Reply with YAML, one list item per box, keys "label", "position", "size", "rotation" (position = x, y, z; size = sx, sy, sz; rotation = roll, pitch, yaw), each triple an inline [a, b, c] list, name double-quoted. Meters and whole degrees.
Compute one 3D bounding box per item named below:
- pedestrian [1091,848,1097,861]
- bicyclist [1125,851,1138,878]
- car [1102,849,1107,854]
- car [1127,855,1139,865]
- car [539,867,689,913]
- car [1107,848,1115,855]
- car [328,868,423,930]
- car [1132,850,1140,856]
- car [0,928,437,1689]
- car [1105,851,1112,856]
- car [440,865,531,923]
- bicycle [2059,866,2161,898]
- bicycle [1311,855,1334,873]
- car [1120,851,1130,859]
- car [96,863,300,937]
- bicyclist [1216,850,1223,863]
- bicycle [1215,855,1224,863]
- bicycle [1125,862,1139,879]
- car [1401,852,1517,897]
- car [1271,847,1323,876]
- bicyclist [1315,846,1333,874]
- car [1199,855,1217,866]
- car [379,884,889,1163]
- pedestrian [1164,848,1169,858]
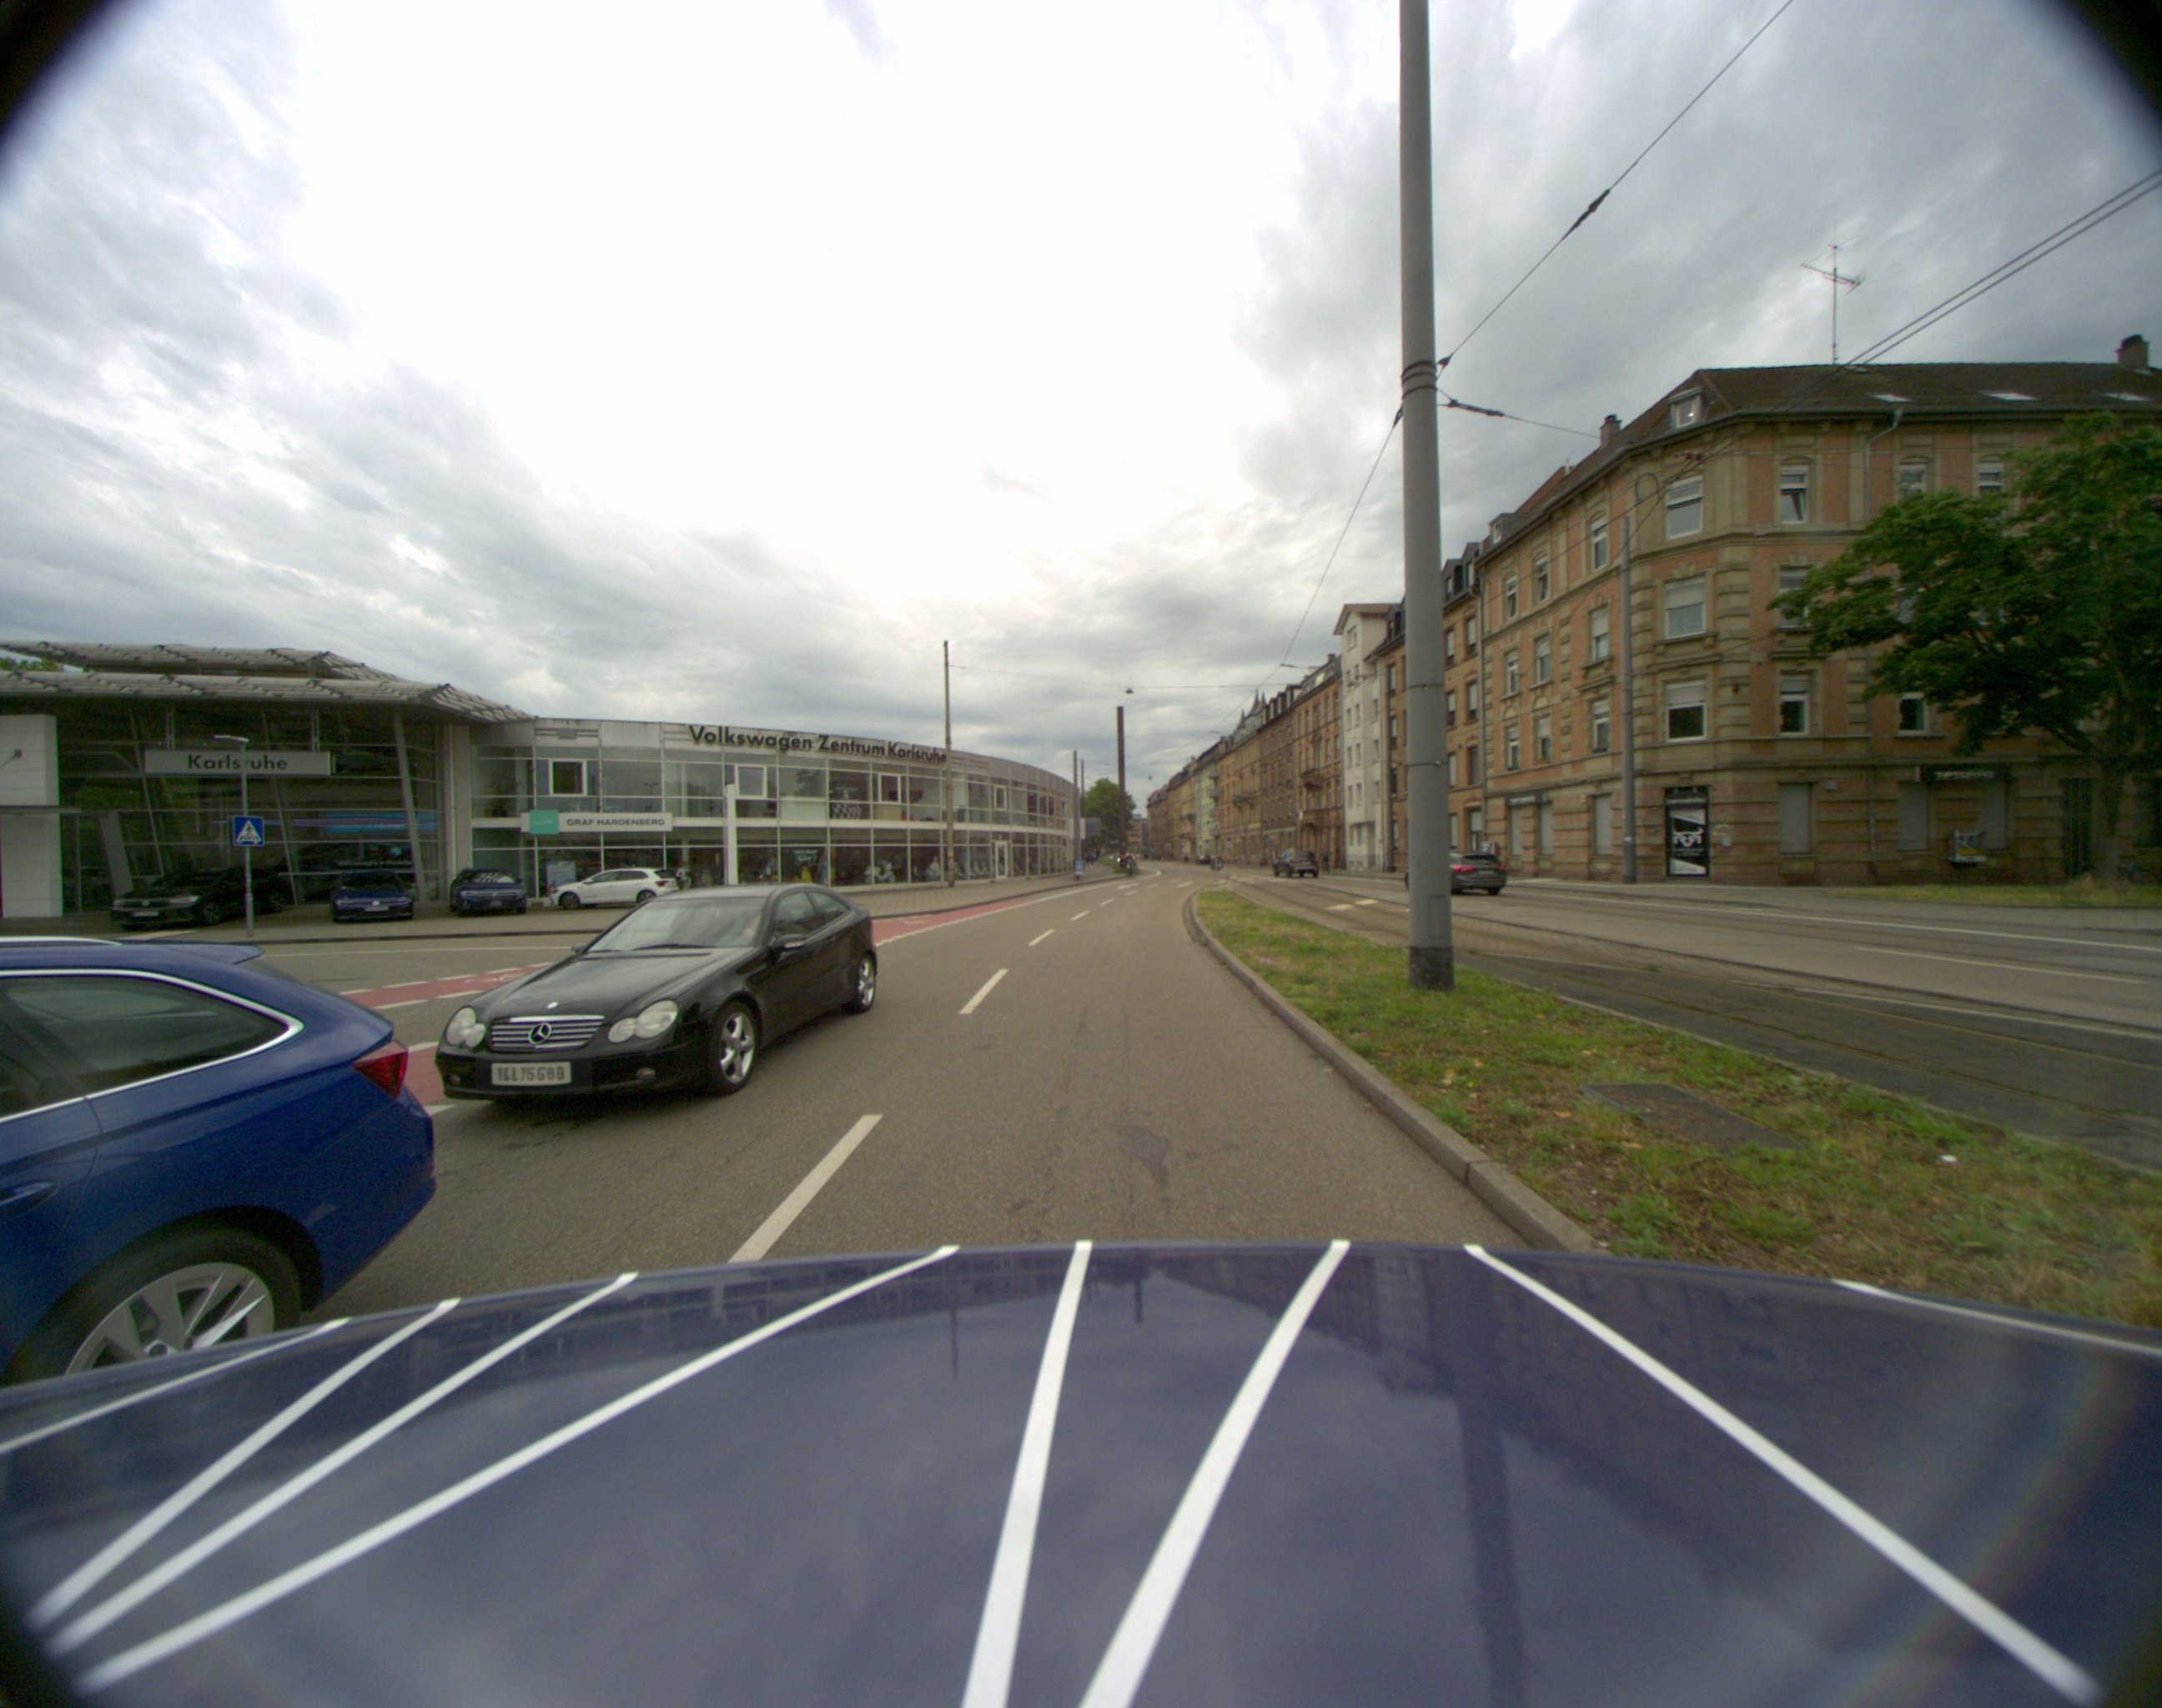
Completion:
- label: "pedestrian"
  position: [1.789, 0.065, 104.061]
  size: [0.871, 1.843, 0.706]
  rotation: [-1, 1, 1]
- label: "bicyclist"
  position: [3.270, 0.676, 48.911]
  size: [0.730, 1.747, 0.911]
  rotation: [-1, 1, 7]
- label: "car"
  position: [7.715, -0.961, 250.728]
  size: [1.802, 1.630, 4.230]
  rotation: [-1, 0, 1]
- label: "car"
  position: [8.966, 1.030, 130.188]
  size: [1.802, 1.630, 4.230]
  rotation: [-1, 0, 1]
- label: "car"
  position: [-16.993, 1.286, 27.837]
  size: [4.263, 1.444, 1.781]
  rotation: [-1, 0, -9]
- label: "car"
  position: [7.435, -0.528, 186.512]
  size: [1.802, 1.630, 4.230]
  rotation: [-1, 0, 1]
- label: "car"
  position: [-22.197, 1.312, 23.842]
  size: [4.325, 1.496, 1.862]
  rotation: [3, 3, 43]
- label: "car"
  position: [13.983, -0.255, 193.531]
  size: [1.802, 1.630, 4.230]
  rotation: [-1, 0, 1]
- label: "car"
  position: [-3.184, 1.036, 0.415]
  size: [1.784, 1.480, 4.465]
  rotation: [-1, 1, 1]
- label: "car"
  position: [7.869, -0.154, 219.321]
  size: [1.802, 1.630, 4.230]
  rotation: [-1, 0, 1]
- label: "car"
  position: [-20.143, 1.275, 25.635]
  size: [1.905, 1.554, 4.207]
  rotation: [-2, 3, -45]
- label: "bicycle"
  position: [30.327, 0.827, 22.232]
  size: [0.662, 0.909, 1.989]
  rotation: [0, -3, -10]
- label: "bicycle"
  position: [16.446, 0.688, 51.716]
  size: [0.826, 1.201, 2.234]
  rotation: [0, 0, -1]
- label: "car"
  position: [8.943, 0.215, 154.497]
  size: [1.802, 1.630, 4.230]
  rotation: [-1, 0, 1]
- label: "car"
  position: [-26.485, 1.289, 23.083]
  size: [1.862, 1.624, 4.500]
  rotation: [-2, 4, -18]
- label: "bicyclist"
  position: [15.809, 0.309, 86.750]
  size: [0.663, 1.486, 0.942]
  rotation: [-1, 1, -3]
- label: "bicycle"
  position: [15.813, 0.610, 86.810]
  size: [0.607, 0.910, 1.719]
  rotation: [-1, 0, -4]
- label: "bicycle"
  position: [3.267, 1.055, 48.800]
  size: [0.727, 1.003, 2.177]
  rotation: [-1, 0, 7]
- label: "car"
  position: [12.854, 0.654, 26.165]
  size: [1.698, 1.387, 4.391]
  rotation: [-1, 0, -2]
- label: "car"
  position: [12.842, 0.434, 45.466]
  size: [1.802, 1.630, 4.229]
  rotation: [-1, 0, -1]
- label: "bicyclist"
  position: [16.447, 0.394, 51.471]
  size: [0.831, 1.881, 1.049]
  rotation: [0, 0, -1]
- label: "car"
  position: [17.187, 0.855, 102.918]
  size: [1.852, 1.471, 3.828]
  rotation: [-1, 0, 3]
- label: "car"
  position: [-3.103, 1.070, 6.419]
  size: [1.714, 1.413, 4.070]
  rotation: [-1, 0, 3]
- label: "pedestrian"
  position: [16.900, -0.237, 150.292]
  size: [0.814, 2.002, 0.733]
  rotation: [-1, 1, 1]
